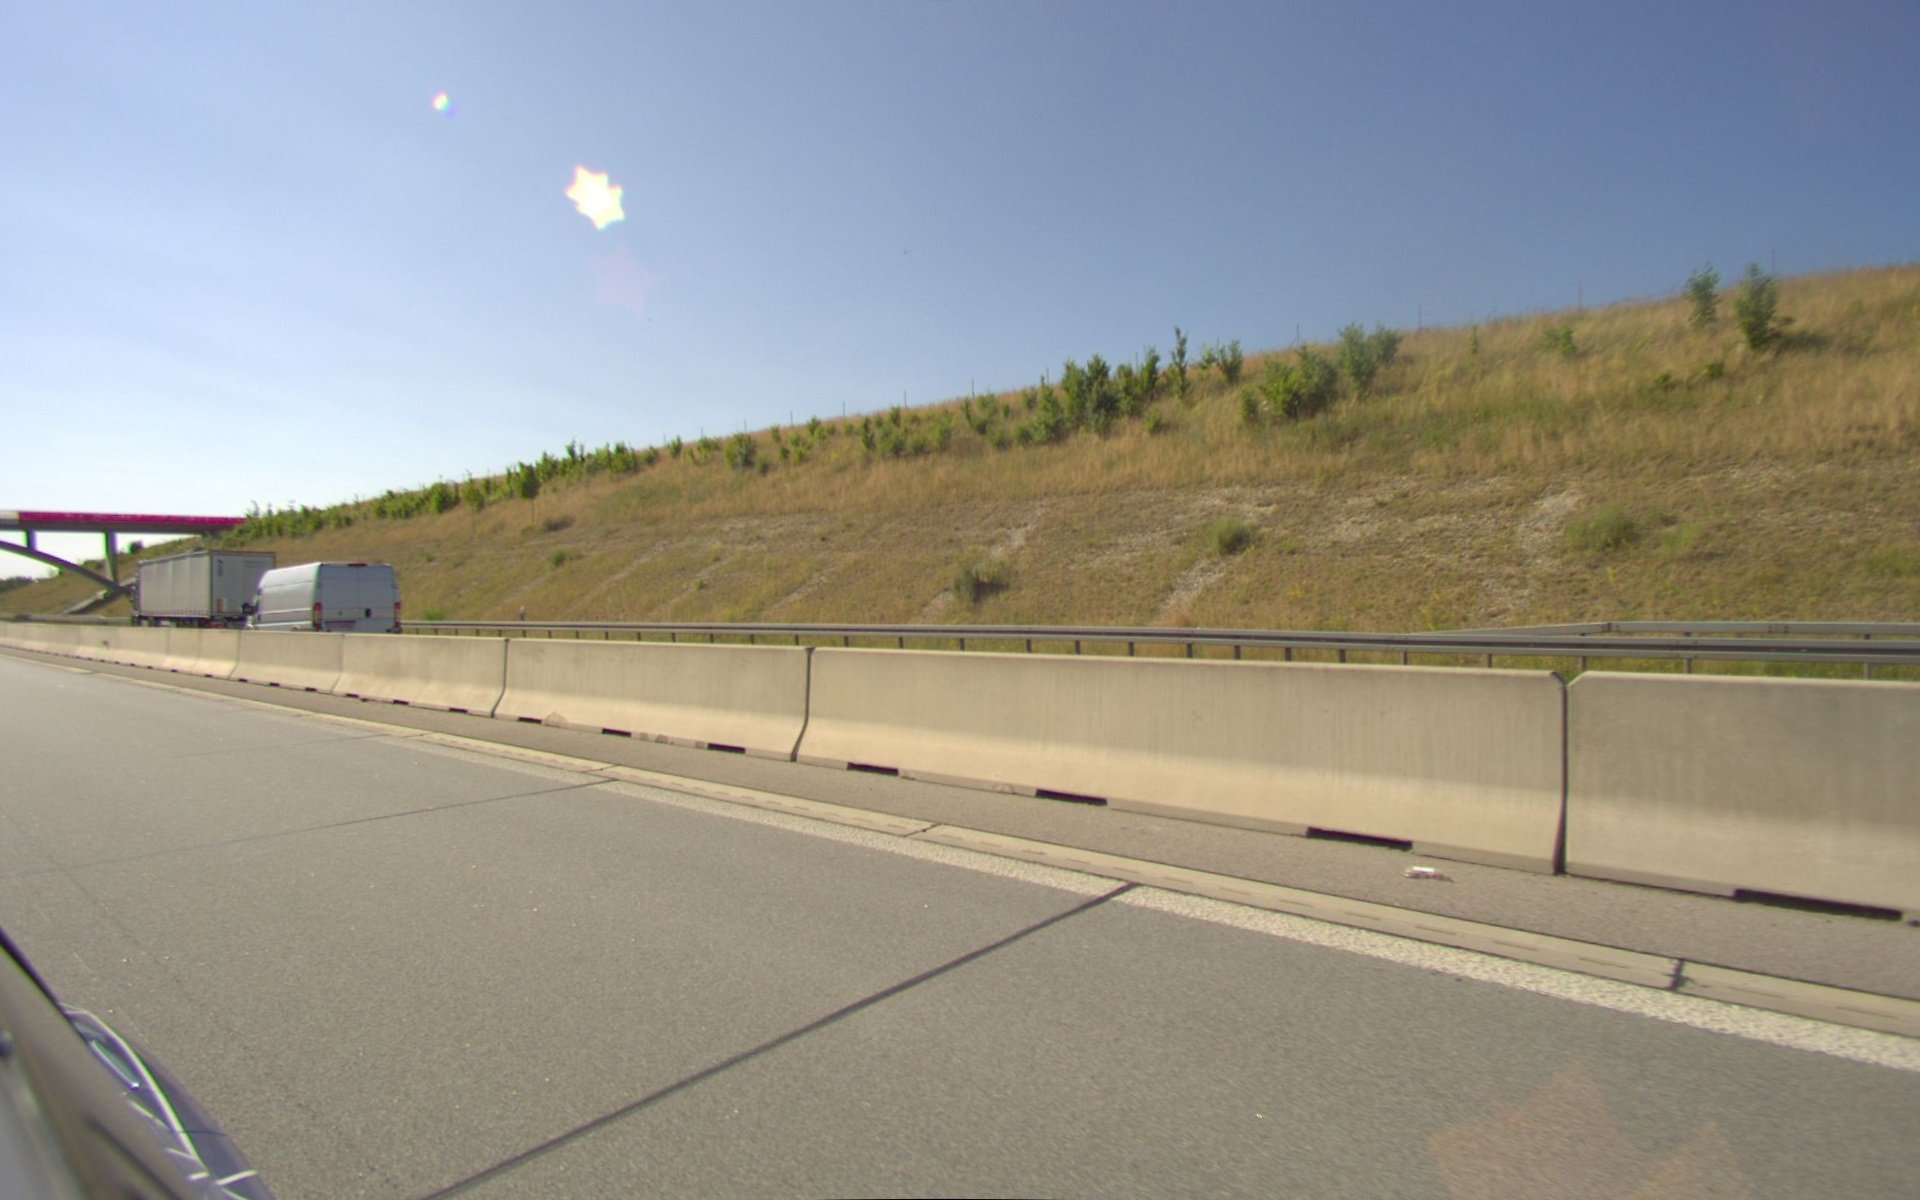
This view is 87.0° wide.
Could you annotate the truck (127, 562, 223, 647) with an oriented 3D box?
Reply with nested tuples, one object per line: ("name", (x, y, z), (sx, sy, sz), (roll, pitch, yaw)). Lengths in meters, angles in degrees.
("truck", (-42.365, 0.233, 54.557), (5.966, 4.341, 2.984), (-1, 0, 41))

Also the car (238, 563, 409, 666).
("car", (-17.068, 0.374, 26.987), (5.828, 2.474, 2.184), (-1, 0, 40))

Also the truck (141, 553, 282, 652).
("truck", (-37.130, 0.165, 49.930), (12.728, 4.341, 2.984), (-1, 0, 41))
